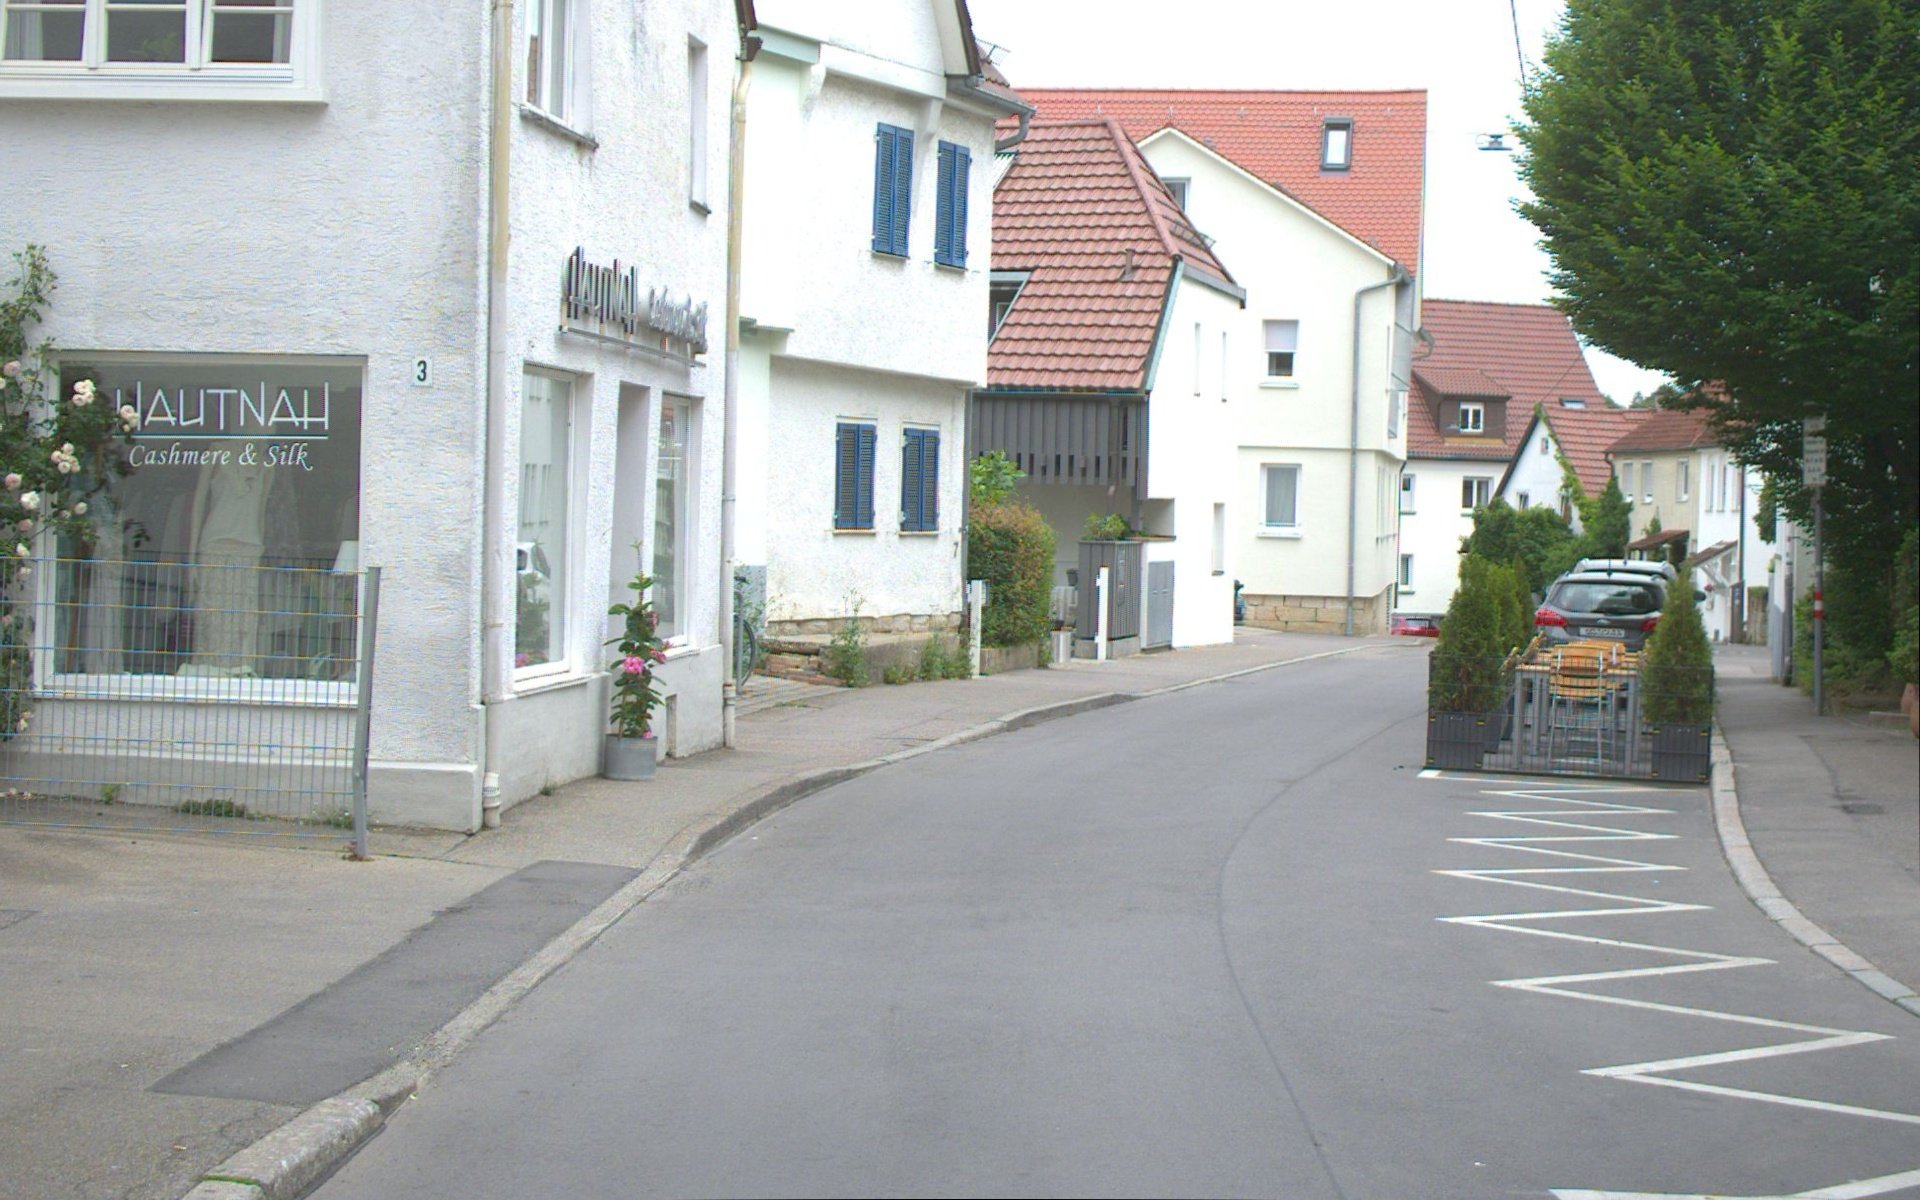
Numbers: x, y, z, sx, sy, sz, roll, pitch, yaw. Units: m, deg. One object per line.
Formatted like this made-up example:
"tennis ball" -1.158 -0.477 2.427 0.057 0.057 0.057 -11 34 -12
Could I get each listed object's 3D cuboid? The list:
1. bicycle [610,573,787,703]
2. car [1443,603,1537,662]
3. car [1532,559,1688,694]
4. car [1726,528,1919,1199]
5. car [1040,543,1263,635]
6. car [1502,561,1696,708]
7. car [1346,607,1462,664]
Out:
"bicycle" -2.244 0.309 29.759 0.443 1.035 2.089 7 4 26
"car" 16.836 1.021 109.406 1.962 1.707 4.001 2 1 -6
"car" 8.597 0.317 45.382 1.864 1.627 4.899 2 1 11
"car" 2.598 0.757 3.884 1.787 1.595 4.543 2 1 -9
"car" 3.637 -0.201 65.012 3.734 1.407 2.118 5 0 17
"car" 7.408 0.347 39.522 1.949 1.502 4.817 3 1 13
"car" 14.847 1.208 115.074 1.993 1.678 4.000 -4 -1 -23
